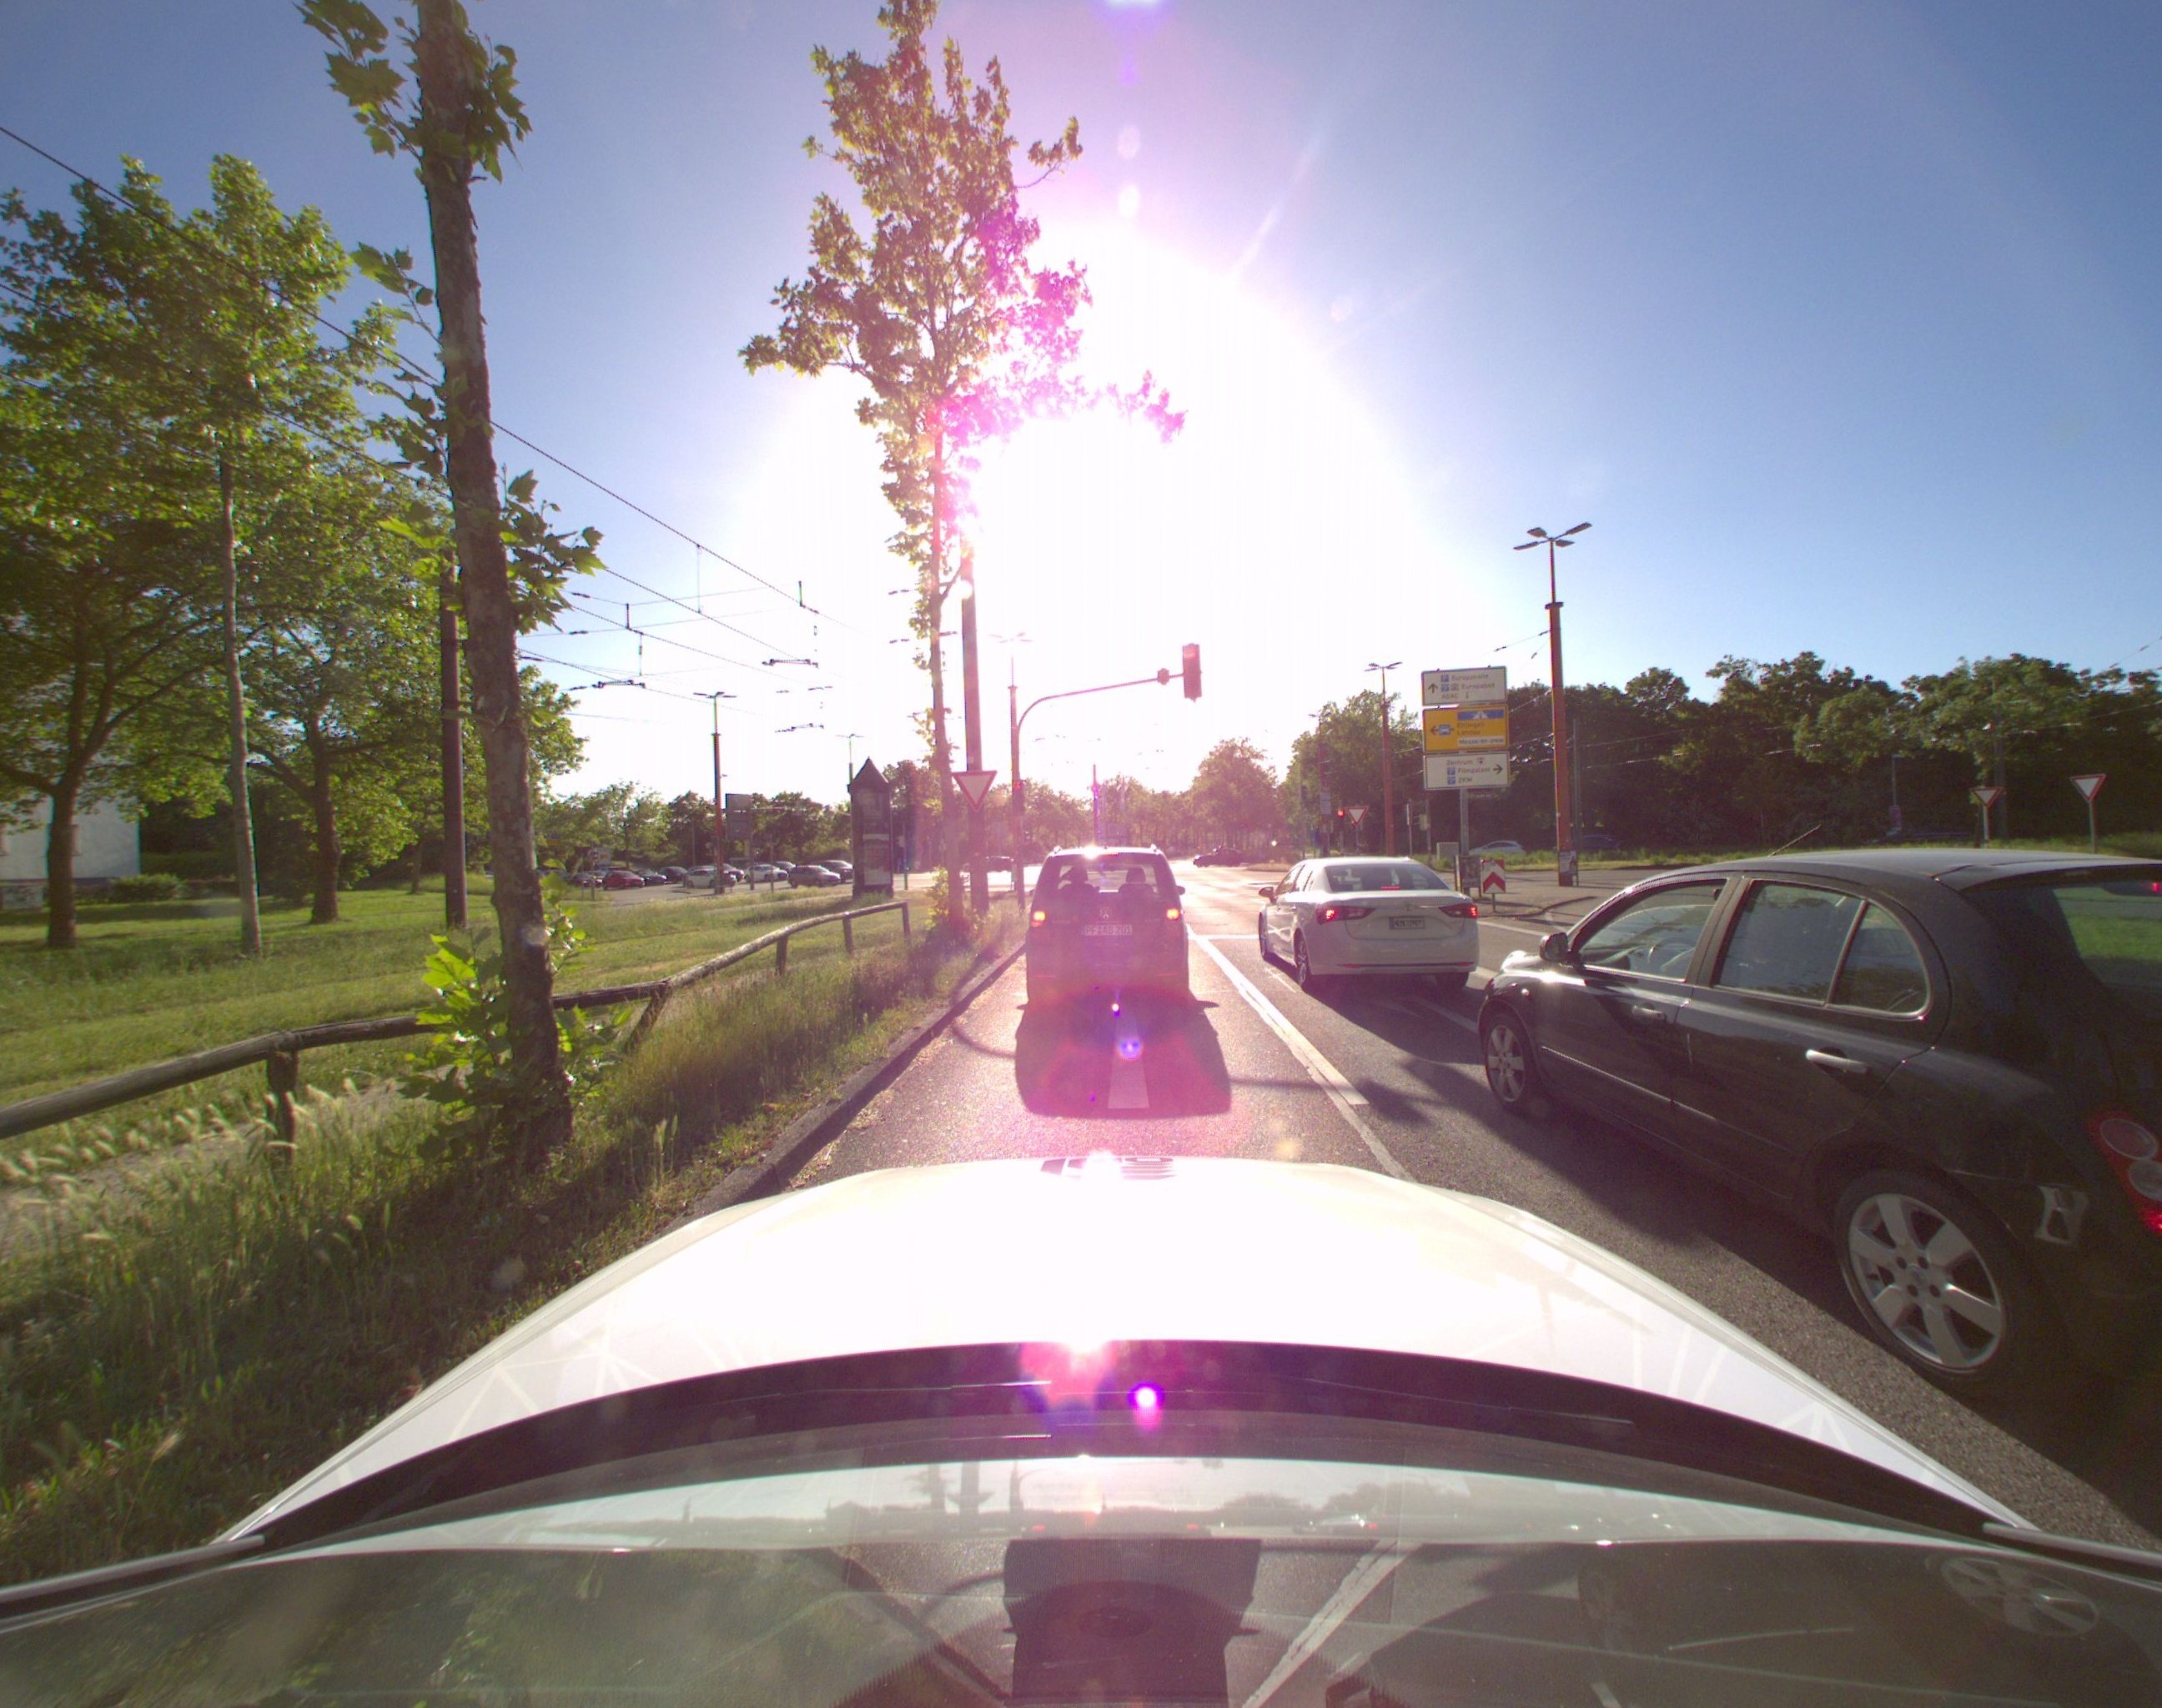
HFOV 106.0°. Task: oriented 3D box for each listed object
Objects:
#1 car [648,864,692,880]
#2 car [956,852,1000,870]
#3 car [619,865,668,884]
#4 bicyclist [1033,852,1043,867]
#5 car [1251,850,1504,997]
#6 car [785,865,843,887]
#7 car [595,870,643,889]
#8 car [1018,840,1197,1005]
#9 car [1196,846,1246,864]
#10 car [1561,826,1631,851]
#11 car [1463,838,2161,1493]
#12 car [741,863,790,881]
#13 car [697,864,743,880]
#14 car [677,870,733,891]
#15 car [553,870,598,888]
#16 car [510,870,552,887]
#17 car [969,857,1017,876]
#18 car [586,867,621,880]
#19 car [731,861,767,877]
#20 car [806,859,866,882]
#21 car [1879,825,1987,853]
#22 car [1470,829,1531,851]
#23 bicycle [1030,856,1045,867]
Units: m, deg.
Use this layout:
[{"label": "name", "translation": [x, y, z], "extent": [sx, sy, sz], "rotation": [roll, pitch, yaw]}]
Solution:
[{"label": "car", "translation": [-38.196, 1.665, 75.718], "extent": [4.102, 1.415, 1.553], "rotation": [-1, 0, 28]}, {"label": "car", "translation": [-10.318, 0.728, 81.606], "extent": [4.164, 1.681, 1.667], "rotation": [-1, 0, 28]}, {"label": "car", "translation": [-38.989, 1.827, 72.553], "extent": [4.583, 1.647, 1.767], "rotation": [-1, 0, 32]}, {"label": "bicyclist", "translation": [-5.507, 0.652, 104.018], "extent": [0.969, 1.904, 1.055], "rotation": [-2, 0, 14]}, {"label": "car", "translation": [3.372, 0.708, 10.199], "extent": [1.792, 1.440, 4.329], "rotation": [0, -1, 3]}, {"label": "car", "translation": [-18.472, 1.514, 56.274], "extent": [3.793, 1.441, 1.667], "rotation": [-1, 0, 29]}, {"label": "car", "translation": [-38.303, 2.105, 67.557], "extent": [4.145, 1.520, 1.667], "rotation": [-1, 0, 32]}, {"label": "car", "translation": [0.365, 0.688, 10.094], "extent": [1.731, 1.602, 4.329], "rotation": [0, -1, 3]}, {"label": "car", "translation": [11.923, 0.074, 69.370], "extent": [3.877, 1.457, 1.667], "rotation": [-1, 0, 29]}, {"label": "car", "translation": [33.873, -0.988, 53.679], "extent": [3.755, 1.510, 1.667], "rotation": [-1, 0, 30]}, {"label": "car", "translation": [3.179, 0.694, 3.500], "extent": [1.570, 1.440, 3.443], "rotation": [0, -1, 2]}, {"label": "car", "translation": [-26.832, 1.521, 69.199], "extent": [4.102, 1.415, 1.553], "rotation": [-1, 0, 28]}, {"label": "car", "translation": [-31.973, 1.591, 72.089], "extent": [4.102, 1.415, 1.553], "rotation": [-1, 0, 28]}, {"label": "car", "translation": [-28.924, 2.004, 62.615], "extent": [4.577, 1.520, 1.667], "rotation": [-1, 0, 32]}, {"label": "car", "translation": [-44.396, 2.204, 71.490], "extent": [4.145, 1.520, 1.667], "rotation": [-1, 0, 32]}, {"label": "car", "translation": [-51.012, 2.237, 75.481], "extent": [4.145, 1.520, 1.667], "rotation": [-1, 0, 32]}, {"label": "car", "translation": [-8.197, 1.155, 75.689], "extent": [4.164, 1.681, 1.666], "rotation": [-1, 0, 26]}, {"label": "car", "translation": [-61.529, 2.521, 104.845], "extent": [4.616, 1.625, 1.667], "rotation": [-1, 0, 28]}, {"label": "car", "translation": [-39.837, 1.814, 97.738], "extent": [4.082, 1.750, 1.666], "rotation": [-1, 0, 24]}, {"label": "car", "translation": [-18.330, 1.227, 60.852], "extent": [4.583, 1.647, 1.667], "rotation": [-1, 0, 32]}, {"label": "car", "translation": [49.990, -0.873, 47.891], "extent": [4.095, 1.510, 1.667], "rotation": [-1, 0, 30]}, {"label": "car", "translation": [30.532, -1.005, 59.282], "extent": [3.877, 1.457, 1.667], "rotation": [-1, 0, 28]}, {"label": "bicycle", "translation": [-5.509, 0.986, 103.976], "extent": [0.969, 1.388, 2.991], "rotation": [-2, 0, 15]}]
